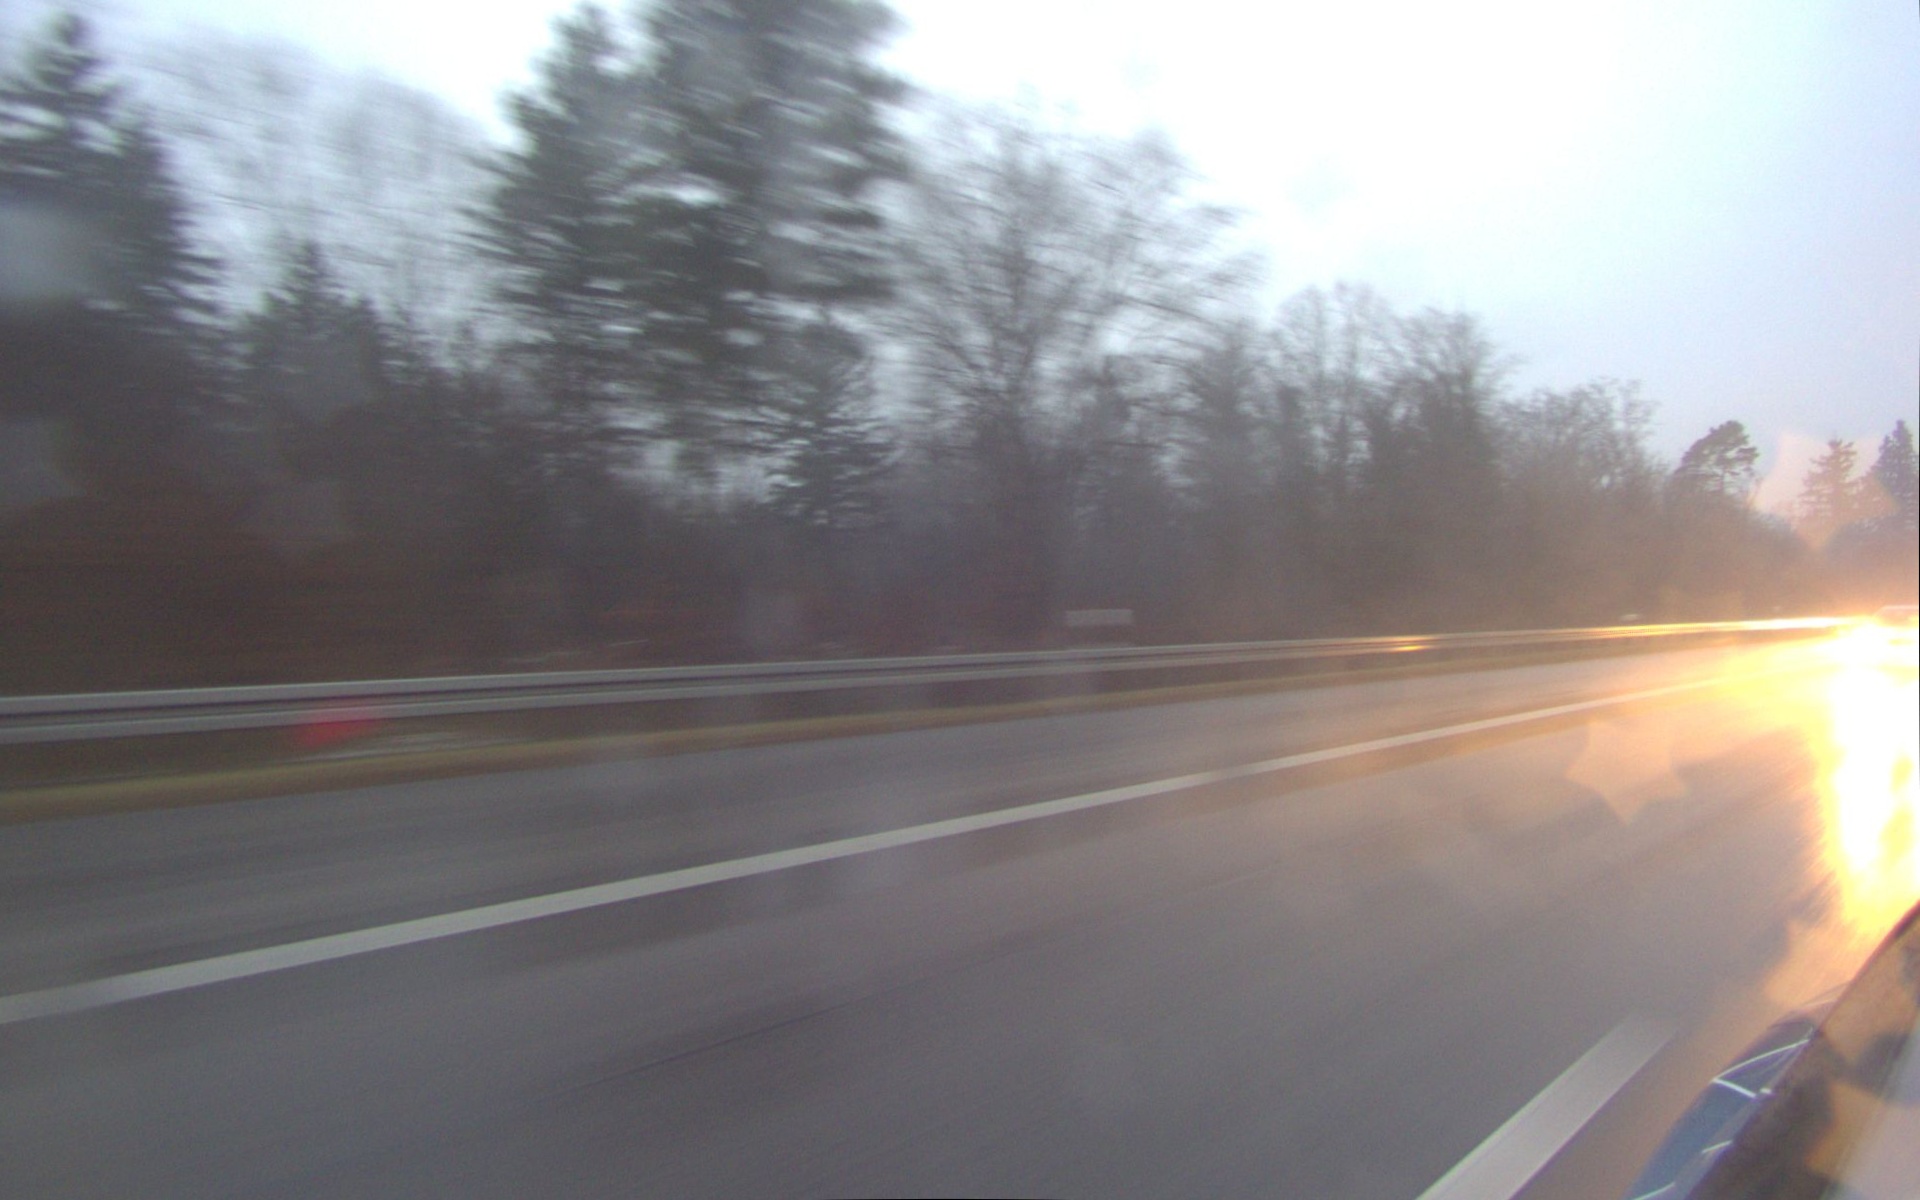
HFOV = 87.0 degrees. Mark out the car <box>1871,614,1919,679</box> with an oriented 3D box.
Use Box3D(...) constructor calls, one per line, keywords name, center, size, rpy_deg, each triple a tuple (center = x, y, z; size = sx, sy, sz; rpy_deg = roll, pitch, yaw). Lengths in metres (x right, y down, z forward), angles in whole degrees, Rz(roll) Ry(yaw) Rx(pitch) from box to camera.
Box3D(name="car", center=(22.858, 1.083, 23.854), size=(3.247, 1.382, 1.602), rpy_deg=(0, 3, -41))
